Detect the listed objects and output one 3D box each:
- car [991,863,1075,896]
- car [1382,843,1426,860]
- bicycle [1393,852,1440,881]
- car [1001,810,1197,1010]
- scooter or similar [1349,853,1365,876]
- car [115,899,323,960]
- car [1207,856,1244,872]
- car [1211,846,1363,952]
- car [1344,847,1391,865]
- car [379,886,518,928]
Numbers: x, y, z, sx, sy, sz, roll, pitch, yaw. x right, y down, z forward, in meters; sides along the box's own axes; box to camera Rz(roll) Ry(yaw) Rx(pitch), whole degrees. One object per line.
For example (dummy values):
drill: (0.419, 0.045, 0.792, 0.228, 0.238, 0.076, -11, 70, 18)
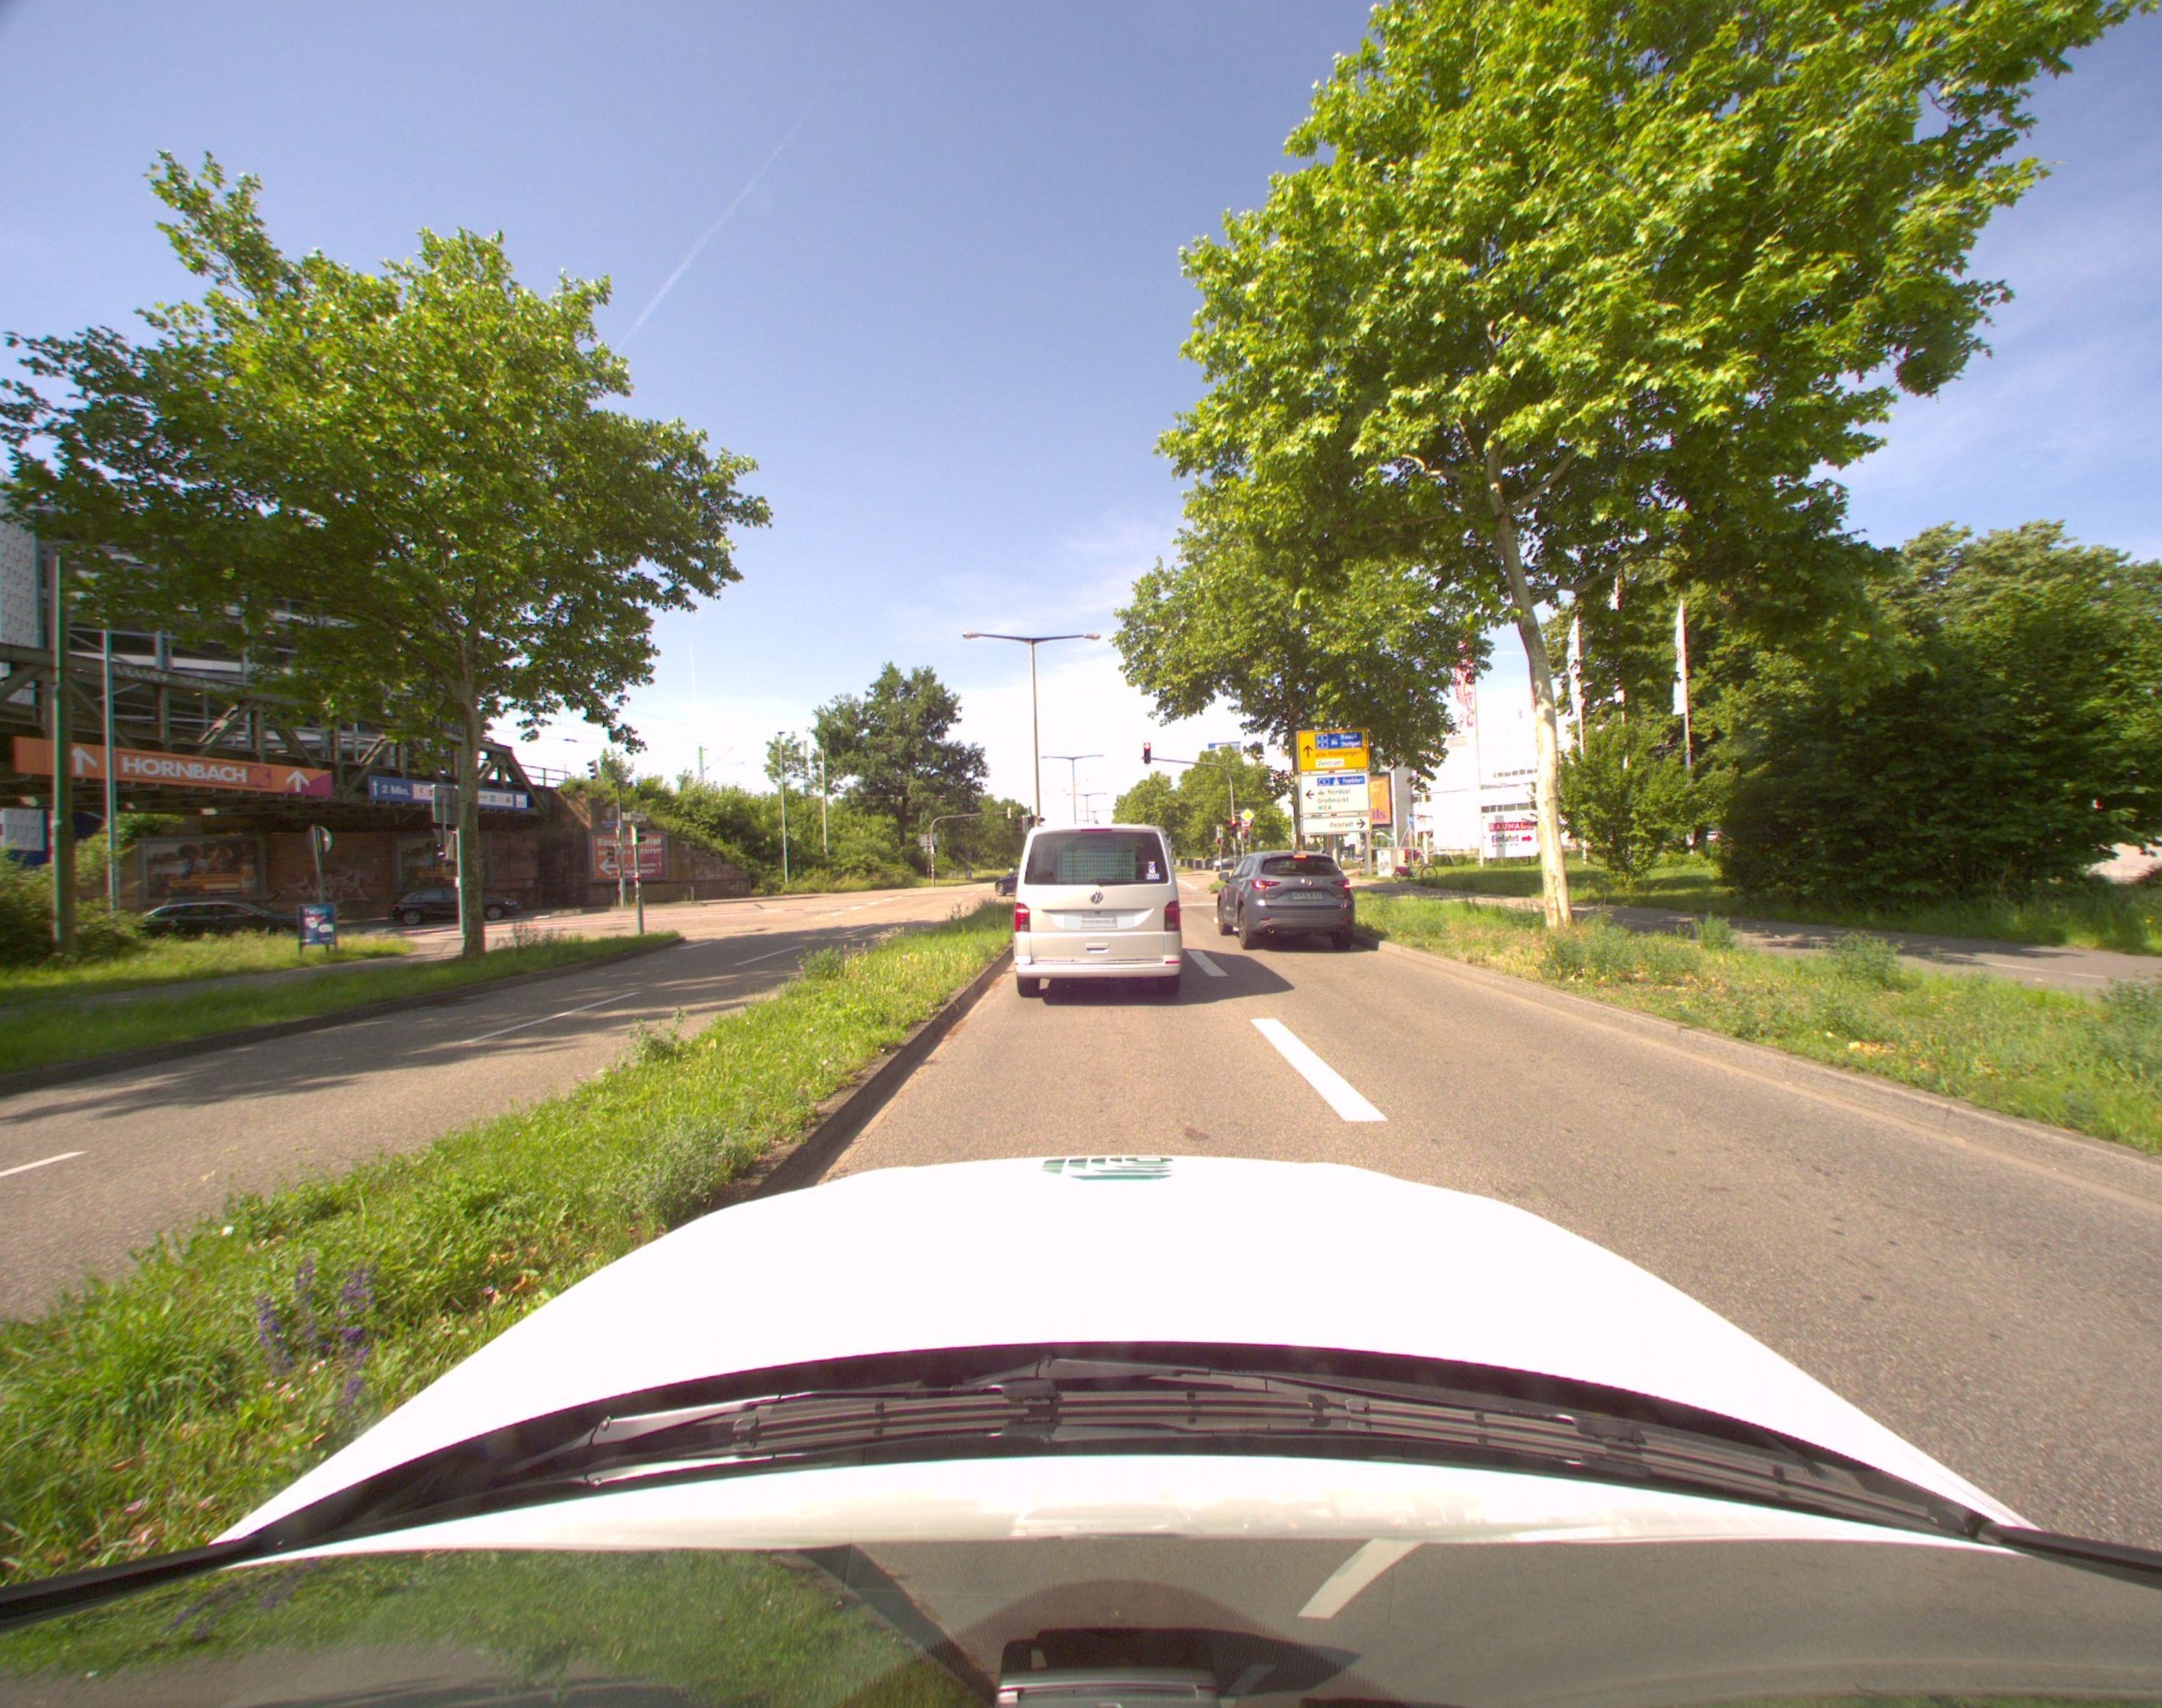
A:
car: (-2.305, 1.180, 38.043, 1.801, 1.397, 4.276, -2, -1, -37)
car: (32.111, -0.270, 80.924, 4.646, 1.444, 1.762, -2, -1, -35)
bicycle: (14.225, 0.540, 34.598, 1.771, 1.108, 0.506, -4, -1, 20)
car: (0.264, 0.594, 10.787, 1.934, 1.971, 5.024, -2, -1, 2)
scooter or similar: (14.150, 0.538, 41.737, 0.423, 1.126, 1.124, -3, -1, 1)
car: (-25.630, 2.198, 24.436, 3.959, 1.481, 1.804, -1, -1, -34)
car: (14.811, 1.022, 83.373, 3.571, 1.566, 2.007, -1, -1, 12)
car: (3.622, 0.731, 15.154, 1.759, 1.659, 4.497, -1, -1, 1)
car: (27.373, 0.196, 77.825, 4.646, 1.444, 1.762, -2, -1, -35)
car: (-25.822, 2.128, 33.459, 4.353, 1.395, 1.752, -2, 0, -35)
